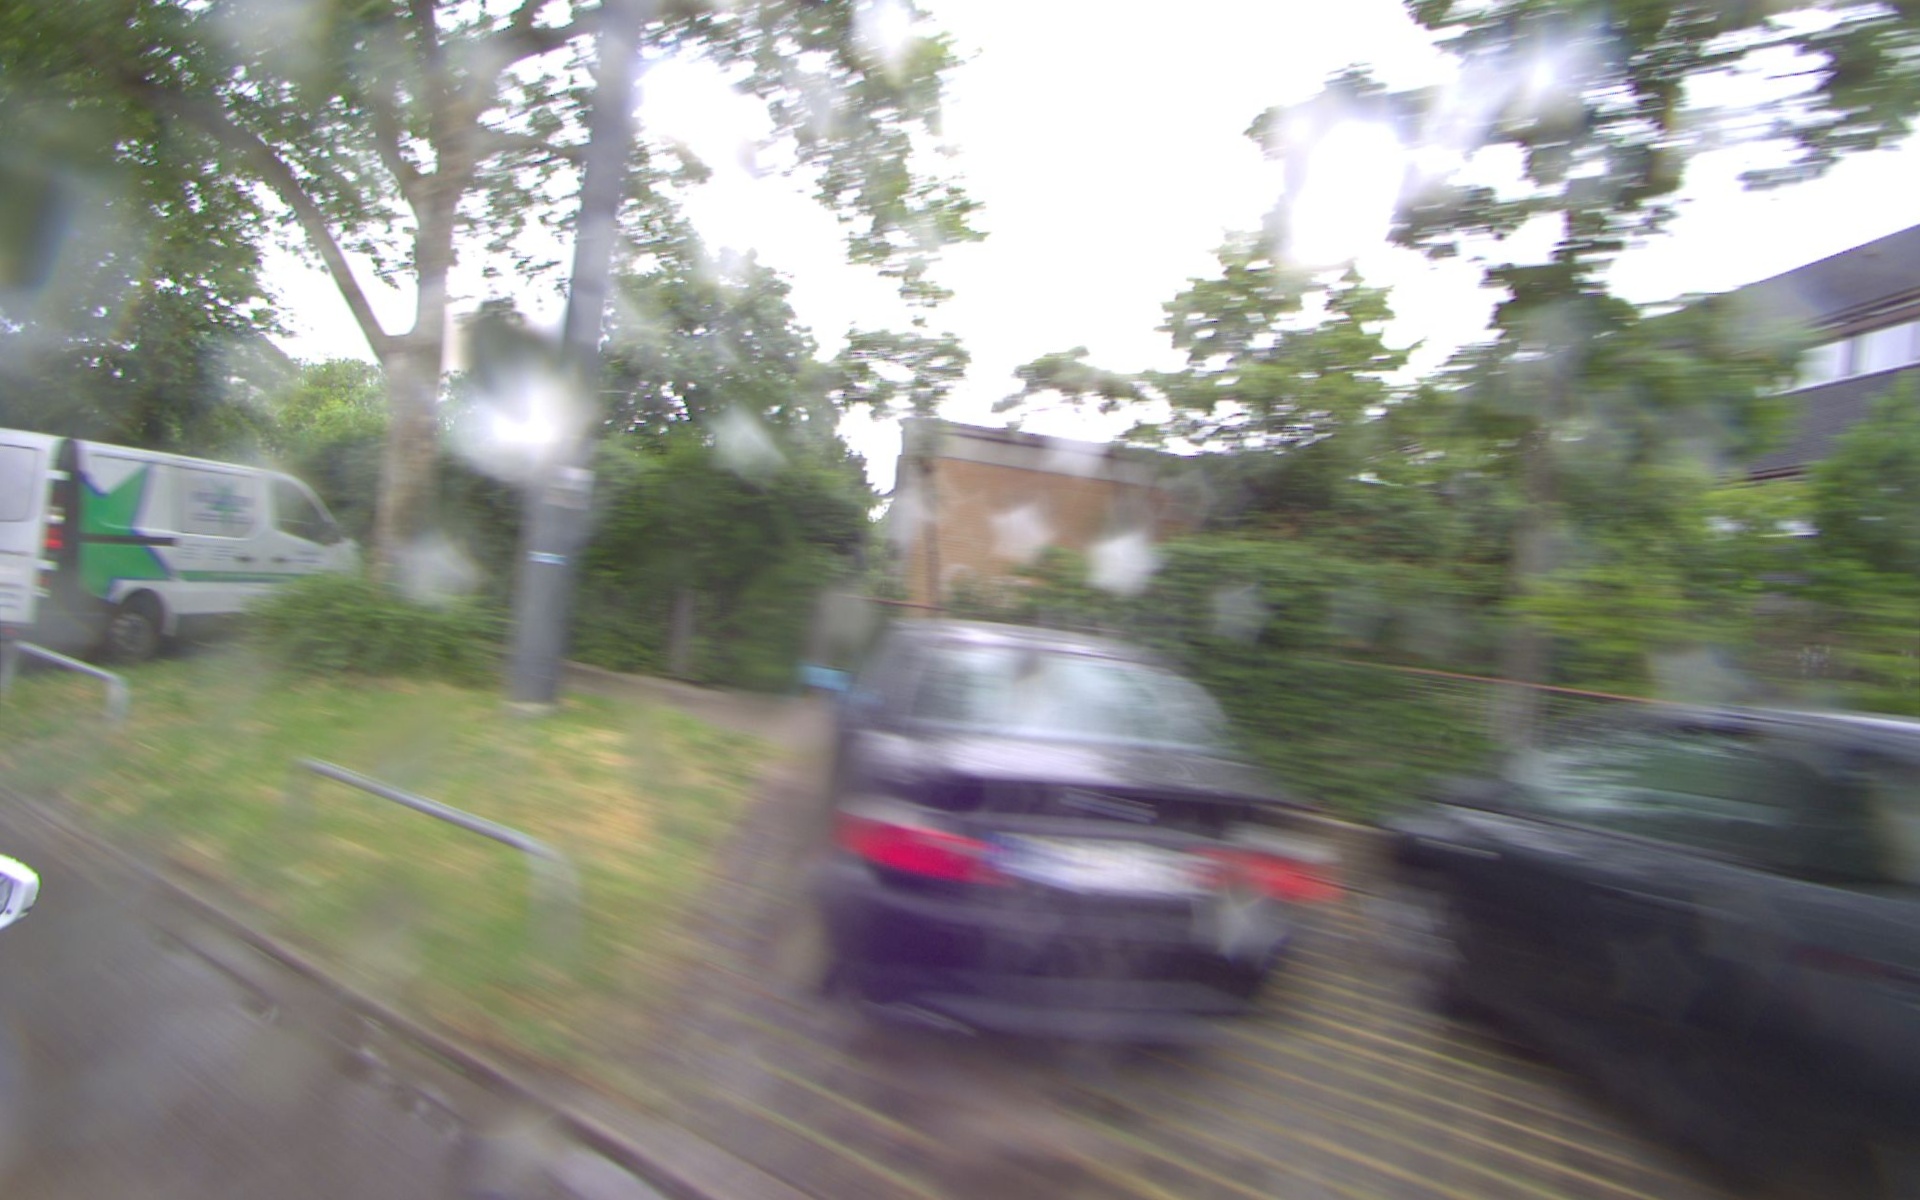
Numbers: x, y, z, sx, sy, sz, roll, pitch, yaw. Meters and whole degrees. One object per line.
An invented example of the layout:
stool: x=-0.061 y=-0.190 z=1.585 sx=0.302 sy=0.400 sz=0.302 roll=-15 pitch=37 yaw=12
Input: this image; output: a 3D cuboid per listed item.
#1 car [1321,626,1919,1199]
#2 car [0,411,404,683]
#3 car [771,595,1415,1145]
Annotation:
car: x=2.903 y=1.035 z=3.311 sx=1.817 sy=1.538 sz=3.399 roll=6 pitch=1 yaw=-6
car: x=-8.035 y=-0.562 z=10.246 sx=1.964 sy=2.040 sz=5.024 roll=7 pitch=1 yaw=-3
car: x=0.128 y=0.789 z=4.971 sx=1.711 sy=1.401 sz=4.300 roll=7 pitch=0 yaw=-8
